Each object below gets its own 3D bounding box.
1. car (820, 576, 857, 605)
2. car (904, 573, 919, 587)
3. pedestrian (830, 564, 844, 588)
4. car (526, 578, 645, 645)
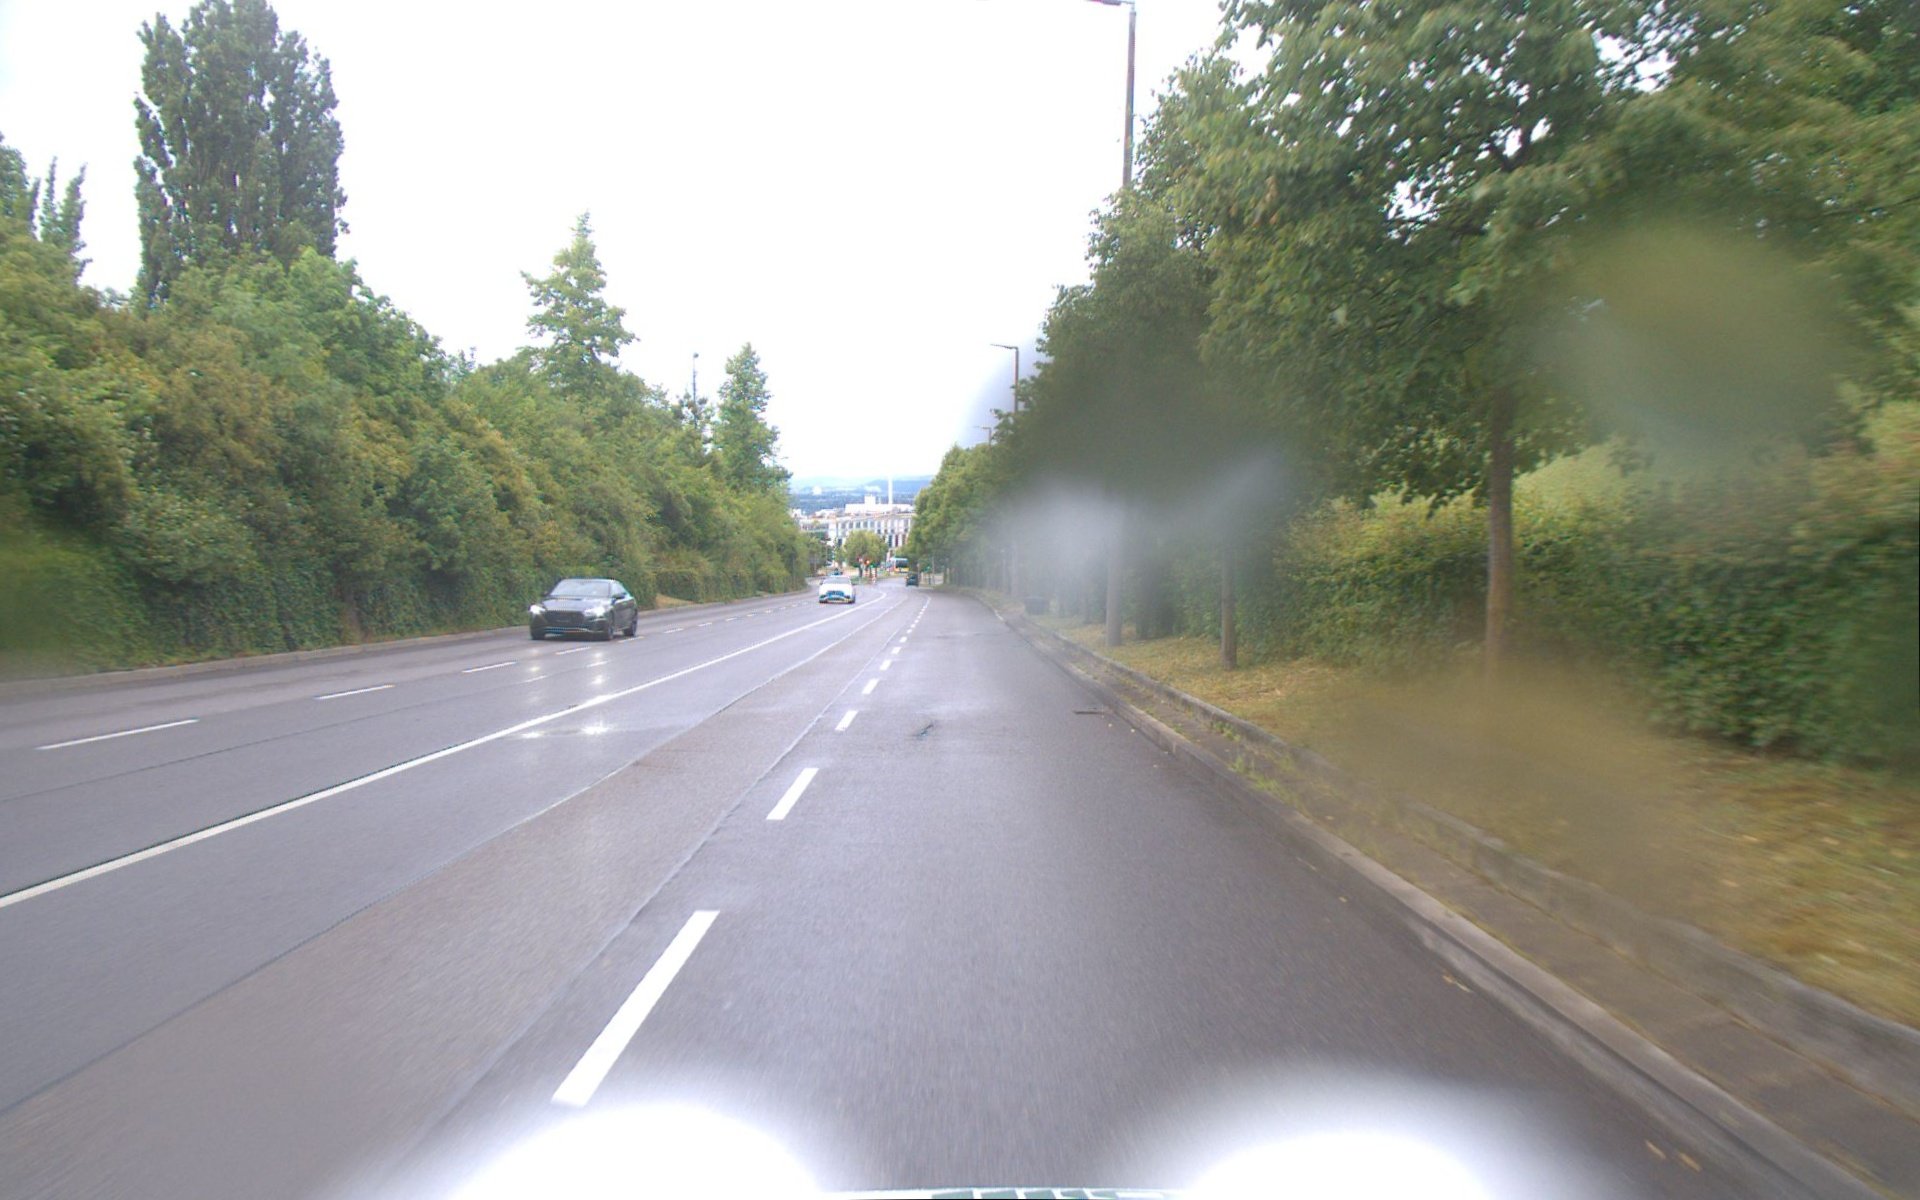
[{"bbox_3d":[-6.640,-0.533,90.552,1.680,1.531,4.516,2,1,0],"label":"car"},{"bbox_3d":[-6.312,-2.611,214.893,1.812,1.731,3.790,2,-1,-3],"label":"car"},{"bbox_3d":[-8.045,-1.583,108.266,0.789,1.568,1.111,1,0,-1],"label":"pedestrian"},{"bbox_3d":[-8.808,0.221,39.290,1.724,1.405,4.838,2,1,-1],"label":"car"}]
